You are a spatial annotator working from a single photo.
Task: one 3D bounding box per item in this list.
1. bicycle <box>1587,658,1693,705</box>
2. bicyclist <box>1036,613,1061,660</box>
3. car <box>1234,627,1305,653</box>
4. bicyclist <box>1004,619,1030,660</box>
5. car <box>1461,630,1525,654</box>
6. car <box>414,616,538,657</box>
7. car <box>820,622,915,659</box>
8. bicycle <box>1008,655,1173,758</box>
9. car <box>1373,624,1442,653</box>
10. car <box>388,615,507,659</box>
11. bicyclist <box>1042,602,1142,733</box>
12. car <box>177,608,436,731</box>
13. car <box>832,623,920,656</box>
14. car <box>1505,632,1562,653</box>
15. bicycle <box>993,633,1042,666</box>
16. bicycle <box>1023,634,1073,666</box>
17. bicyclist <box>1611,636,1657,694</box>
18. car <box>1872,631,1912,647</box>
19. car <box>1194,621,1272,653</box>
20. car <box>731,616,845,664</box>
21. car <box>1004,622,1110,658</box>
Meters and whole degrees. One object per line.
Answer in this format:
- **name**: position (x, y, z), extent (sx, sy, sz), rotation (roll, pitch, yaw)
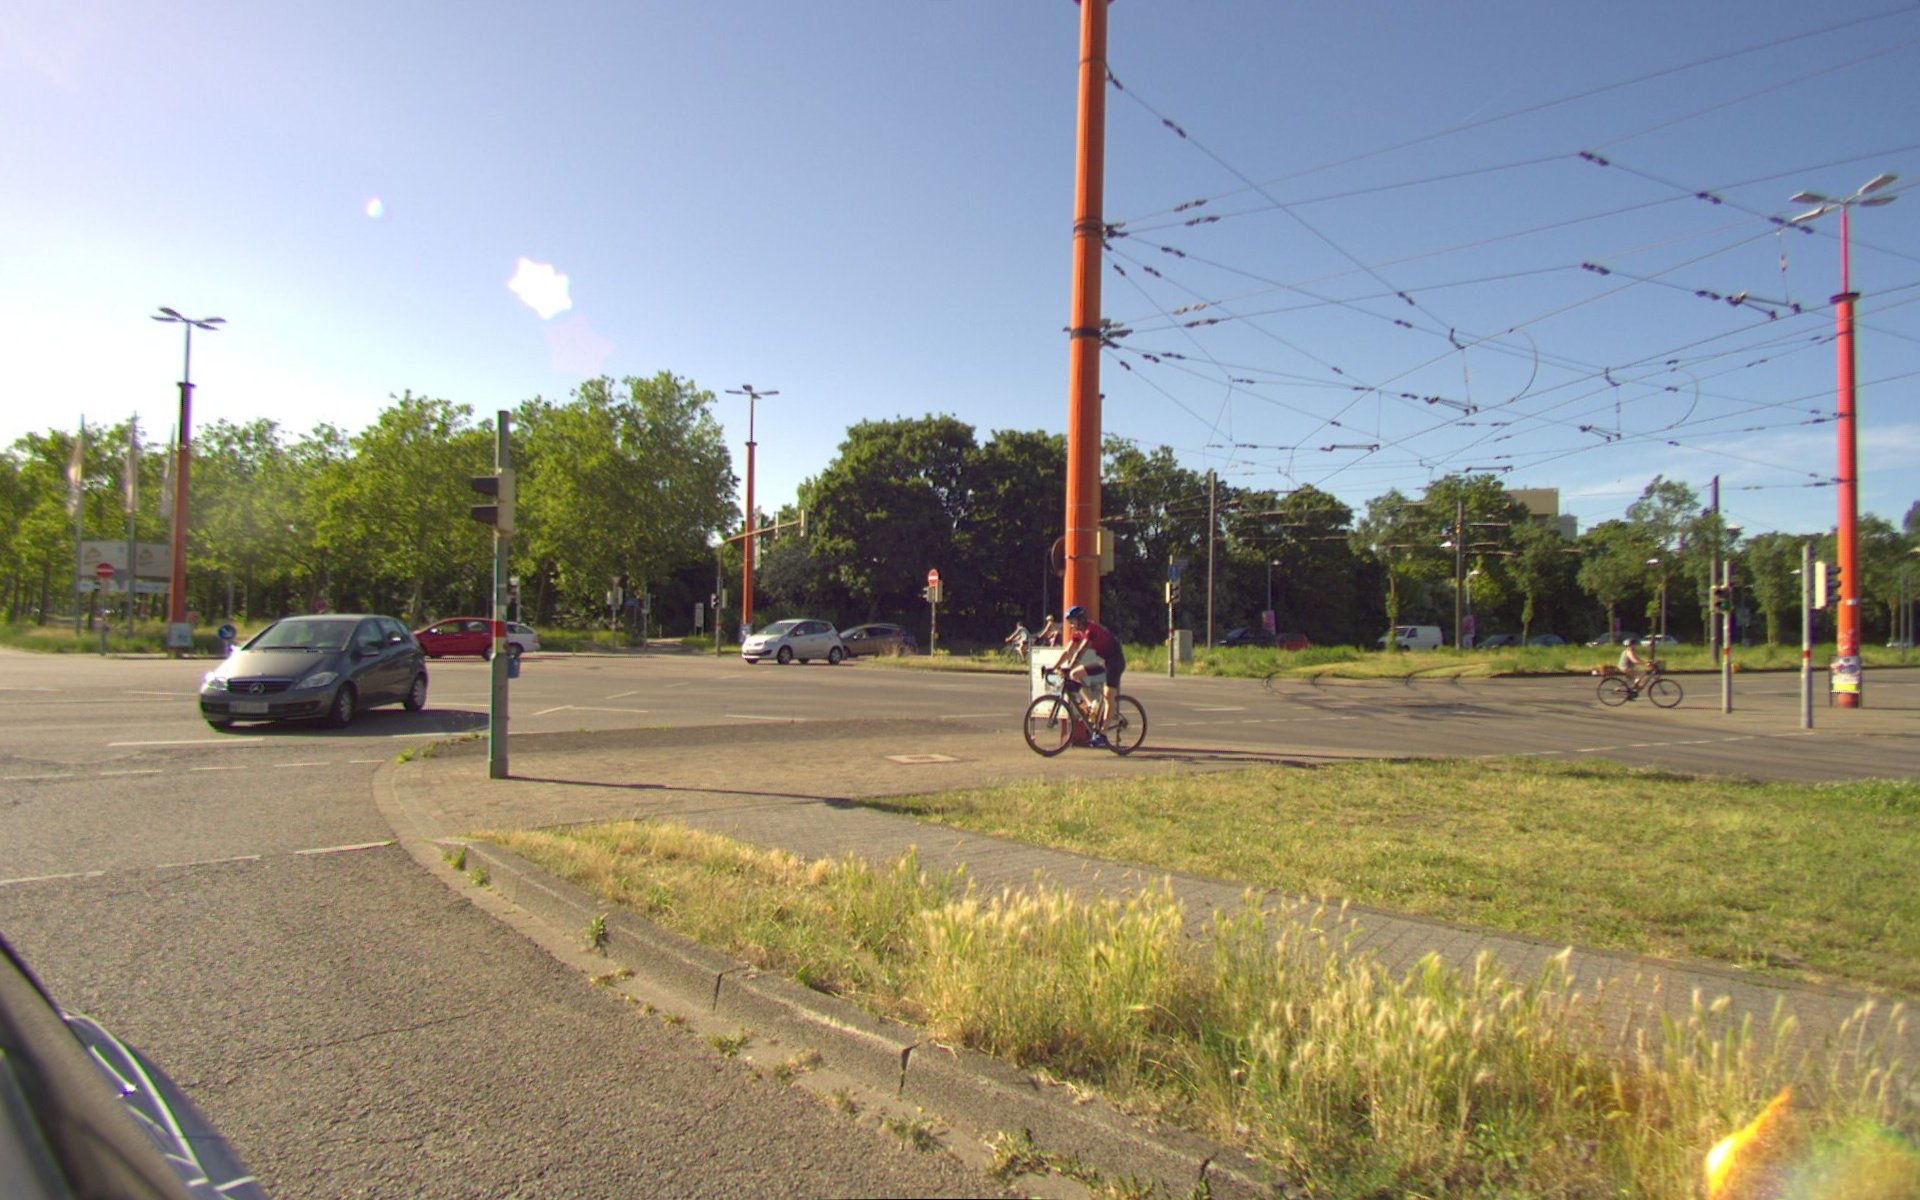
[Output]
- **bicycle**: position (16.755, 1.999, 24.982), extent (2.032, 1.116, 0.655), rotation (-1, -4, 24)
- **bicyclist**: position (3.221, 1.331, 37.018), extent (0.713, 1.665, 0.555), rotation (-1, -2, 37)
- **car**: position (18.324, 2.376, 59.879), extent (3.931, 1.522, 1.805), rotation (2, -3, -29)
- **bicyclist**: position (2.061, 1.405, 36.334), extent (0.777, 1.458, 0.494), rotation (-1, -2, 37)
- **car**: position (34.460, 2.715, 65.452), extent (3.931, 1.522, 1.805), rotation (2, -3, -29)
- **car**: position (-18.787, 1.429, 39.355), extent (4.174, 1.522, 1.805), rotation (2, -3, -31)
- **car**: position (-3.980, 1.748, 43.654), extent (3.722, 1.522, 1.618), rotation (2, -3, -32)
- **bicycle**: position (1.562, 1.226, 12.045), extent (1.868, 1.116, 0.705), rotation (1, -2, -27)
- **car**: position (29.229, 2.541, 66.048), extent (4.478, 1.849, 1.805), rotation (2, -3, -30)
- **car**: position (-18.036, 1.301, 35.617), extent (3.609, 1.470, 1.594), rotation (2, -2, -31)
- **bicyclist**: position (1.571, 0.786, 12.056), extent (0.940, 1.489, 0.705), rotation (1, -2, -27)
- **car**: position (-9.635, 0.950, 15.313), extent (1.772, 1.602, 3.768), rotation (1, -1, -6)
- **car**: position (-3.904, 1.851, 47.200), extent (3.721, 1.518, 1.618), rotation (2, -3, -30)
- **car**: position (41.558, 3.088, 73.267), extent (3.931, 1.522, 1.805), rotation (2, -3, -29)
- **bicycle**: position (2.052, 1.772, 36.327), extent (1.797, 1.116, 0.494), rotation (0, -2, 37)
- **bicycle**: position (3.215, 1.801, 37.004), extent (1.797, 1.116, 0.555), rotation (0, -2, 37)
- **bicyclist**: position (16.674, 1.608, 25.048), extent (0.786, 1.391, 0.655), rotation (-2, -4, 23)
- **car**: position (93.340, 3.934, 101.392), extent (3.931, 1.522, 1.805), rotation (2, -3, -29)
- **car**: position (14.772, 2.010, 54.665), extent (3.931, 1.667, 1.805), rotation (2, -3, -29)
- **car**: position (-6.045, 1.427, 35.939), extent (1.702, 1.600, 3.855), rotation (-1, -3, 37)
- **car**: position (4.373, 1.812, 45.522), extent (4.547, 1.522, 1.795), rotation (2, -3, -30)
